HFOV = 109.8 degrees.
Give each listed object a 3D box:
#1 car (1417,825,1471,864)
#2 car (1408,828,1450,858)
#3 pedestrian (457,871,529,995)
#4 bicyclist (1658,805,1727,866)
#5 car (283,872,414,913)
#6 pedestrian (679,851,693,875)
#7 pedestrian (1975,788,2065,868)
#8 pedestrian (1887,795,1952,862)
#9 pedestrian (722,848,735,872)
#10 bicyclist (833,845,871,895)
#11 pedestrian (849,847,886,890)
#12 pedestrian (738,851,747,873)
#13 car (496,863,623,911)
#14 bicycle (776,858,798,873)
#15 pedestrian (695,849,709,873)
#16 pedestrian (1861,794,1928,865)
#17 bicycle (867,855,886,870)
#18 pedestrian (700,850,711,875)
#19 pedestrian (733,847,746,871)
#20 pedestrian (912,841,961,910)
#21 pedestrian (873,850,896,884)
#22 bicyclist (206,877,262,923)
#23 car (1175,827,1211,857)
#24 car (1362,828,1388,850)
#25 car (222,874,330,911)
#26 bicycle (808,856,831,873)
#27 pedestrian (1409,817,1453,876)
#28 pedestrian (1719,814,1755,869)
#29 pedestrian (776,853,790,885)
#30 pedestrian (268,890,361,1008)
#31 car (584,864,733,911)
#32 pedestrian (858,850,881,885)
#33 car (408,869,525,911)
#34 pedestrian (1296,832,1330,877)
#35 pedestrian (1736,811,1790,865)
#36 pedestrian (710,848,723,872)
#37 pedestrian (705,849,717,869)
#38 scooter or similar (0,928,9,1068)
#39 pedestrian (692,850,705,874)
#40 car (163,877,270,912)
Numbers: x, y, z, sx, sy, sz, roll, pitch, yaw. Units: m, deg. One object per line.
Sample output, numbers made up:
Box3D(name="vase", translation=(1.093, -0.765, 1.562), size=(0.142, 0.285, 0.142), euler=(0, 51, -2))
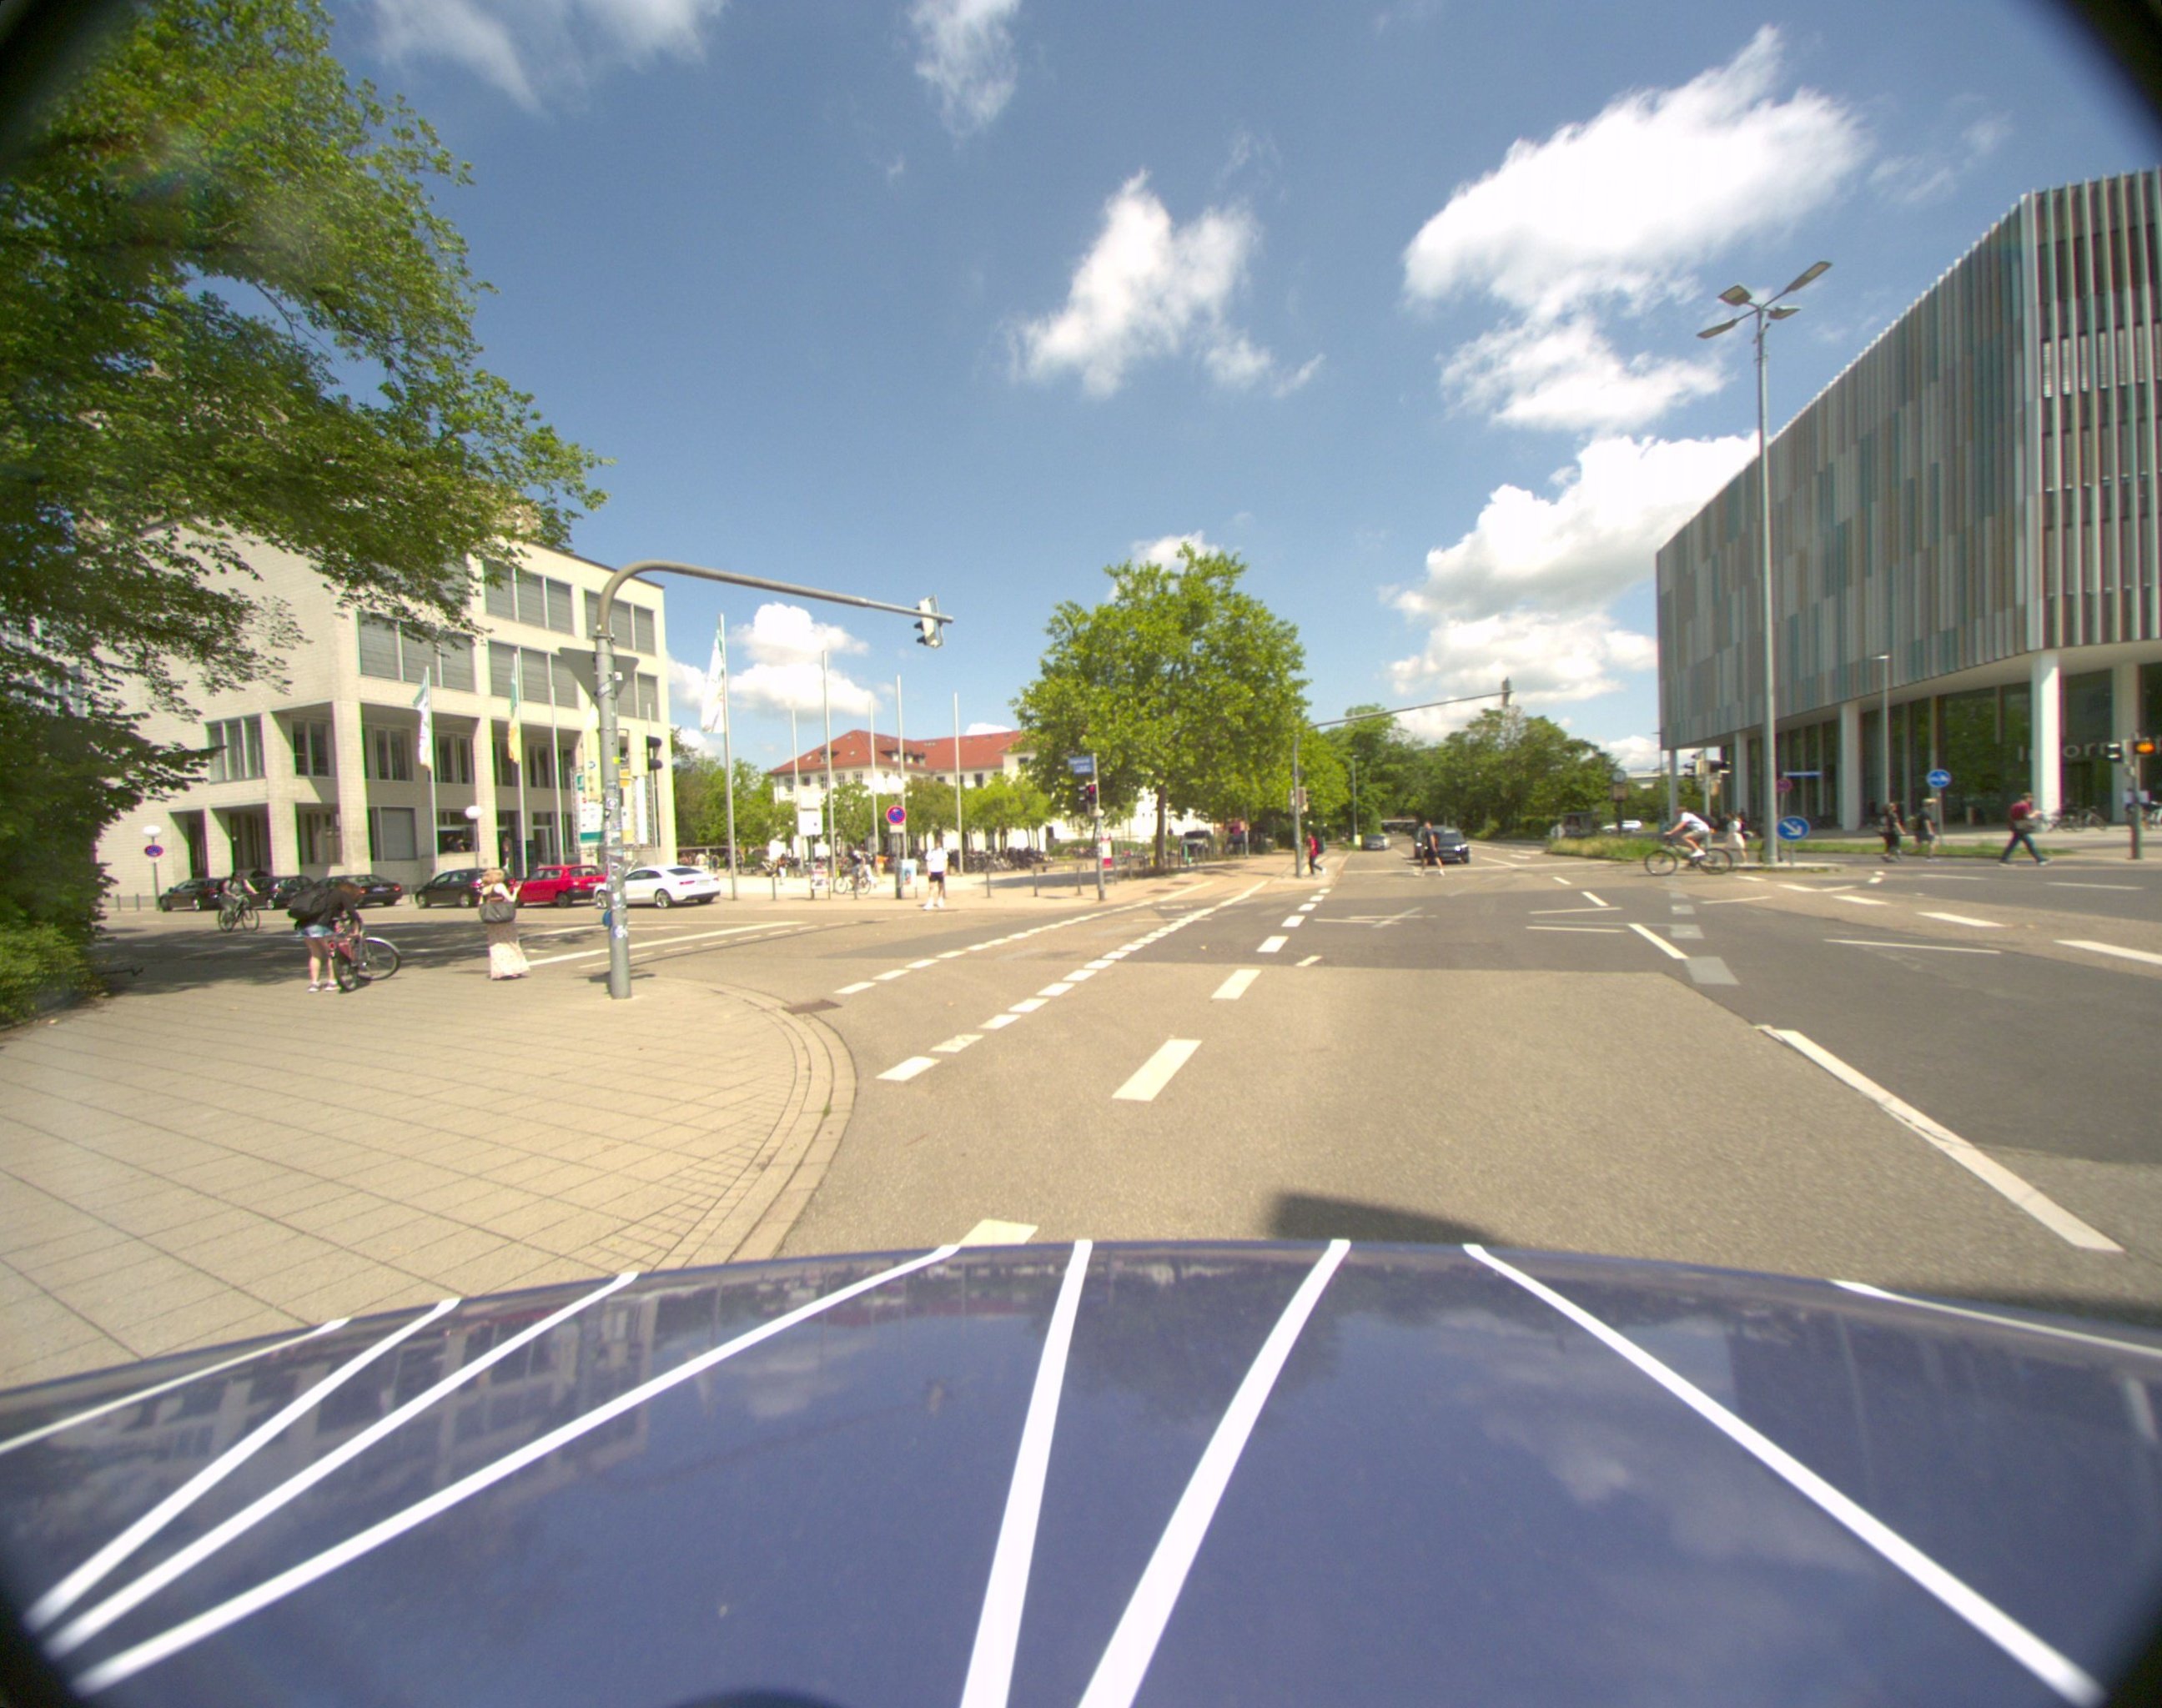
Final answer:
Box3D(name="car", translation=(16.122, -0.449, 33.935), size=(1.843, 1.593, 4.005), euler=(-2, 1, 21))
Box3D(name="car", translation=(18.964, -0.630, 41.555), size=(1.843, 1.528, 4.005), euler=(-2, 1, 21))
Box3D(name="pedestrian", translation=(-8.188, 1.073, 10.610), size=(0.646, 1.617, 0.634), euler=(-4, 2, -31))
Box3D(name="bicyclist", translation=(15.112, -0.449, 18.800), size=(1.074, 1.436, 0.973), euler=(-2, 2, 22))
Box3D(name="car", translation=(-30.332, 1.586, 31.474), size=(4.392, 1.432, 2.004), euler=(-2, 2, 18))
Box3D(name="pedestrian", translation=(-31.839, 0.688, 61.194), size=(0.675, 1.892, 0.801), euler=(-3, 2, -11))
Box3D(name="pedestrian", translation=(23.618, -0.644, 19.147), size=(1.106, 1.915, 0.973), euler=(-2, 2, 25))
Box3D(name="pedestrian", translation=(24.693, -0.741, 22.386), size=(0.877, 1.915, 0.973), euler=(-2, 2, 15))
Box3D(name="pedestrian", translation=(-28.720, 0.469, 61.914), size=(0.675, 1.892, 0.801), euler=(-3, 2, -11))
Box3D(name="bicyclist", translation=(-8.805, 0.612, 29.222), size=(1.085, 1.843, 0.685), euler=(-2, 2, 25))
Box3D(name="pedestrian", translation=(-9.515, 0.647, 33.938), size=(1.319, 1.838, 0.701), euler=(-3, 1, 21))
Box3D(name="pedestrian", translation=(-24.111, 0.553, 54.098), size=(0.473, 1.527, 0.561), euler=(-4, 2, -29))
Box3D(name="car", translation=(-18.963, 1.206, 27.653), size=(3.809, 1.548, 1.775), euler=(-2, 2, 18))
Box3D(name="bicycle", translation=(-19.563, 0.761, 50.553), size=(1.369, 0.946, 0.352), euler=(-2, 1, 12))
Box3D(name="pedestrian", translation=(-30.584, 0.554, 61.313), size=(0.675, 1.892, 0.801), euler=(-3, 2, -11))
Box3D(name="pedestrian", translation=(23.032, -0.680, 21.540), size=(0.877, 1.915, 0.972), euler=(-2, 2, 12))
Box3D(name="bicycle", translation=(-13.756, 0.570, 51.110), size=(1.368, 0.946, 0.353), euler=(-2, 2, 27))
Box3D(name="pedestrian", translation=(-26.101, 0.592, 52.793), size=(0.473, 1.704, 0.382), euler=(-3, 2, -10))
Box3D(name="pedestrian", translation=(-28.301, 0.409, 62.928), size=(0.675, 1.892, 0.801), euler=(-3, 2, -11))
Box3D(name="pedestrian", translation=(-4.013, 0.580, 21.205), size=(0.877, 1.862, 0.973), euler=(-2, 2, 19))
Box3D(name="pedestrian", translation=(-9.655, 0.622, 37.257), size=(0.686, 1.613, 0.833), euler=(-5, 3, -43))
Box3D(name="bicyclist", translation=(-23.553, 1.278, 21.135), size=(0.833, 1.219, 0.619), euler=(-2, 1, 7))
Box3D(name="car", translation=(8.161, -0.892, 55.033), size=(1.996, 2.043, 4.233), euler=(-2, 1, 15))
Box3D(name="car", translation=(24.796, -1.277, 64.188), size=(1.909, 1.772, 4.005), euler=(-2, 1, 20))
Box3D(name="car", translation=(-35.352, 1.704, 33.389), size=(3.709, 1.422, 1.803), euler=(-2, 2, 18))
Box3D(name="bicycle", translation=(-16.757, 0.659, 48.672), size=(1.369, 1.068, 0.352), euler=(-2, 1, 12))
Box3D(name="pedestrian", translation=(11.676, -0.249, 25.352), size=(1.029, 1.915, 0.974), euler=(-1, 2, 45))
Box3D(name="pedestrian", translation=(18.232, -0.354, 21.127), size=(0.590, 1.495, 0.416), euler=(-3, 2, 5))
Box3D(name="pedestrian", translation=(-15.154, 0.763, 38.640), size=(0.539, 1.581, 0.435), euler=(-3, 2, -30))
Box3D(name="pedestrian", translation=(-9.947, 1.197, 9.891), size=(0.657, 1.409, 0.786), euler=(-1, 0, -31))
Box3D(name="car", translation=(-14.285, 1.129, 25.706), size=(4.433, 1.389, 1.836), euler=(-2, 1, 19))
Box3D(name="pedestrian", translation=(-10.198, 0.651, 36.646), size=(0.686, 1.613, 0.833), euler=(-4, 3, -40))
Box3D(name="car", translation=(-23.870, 1.382, 29.525), size=(3.921, 1.439, 1.744), euler=(-2, 2, 21))
Box3D(name="pedestrian", translation=(8.539, 0.022, 27.973), size=(1.061, 1.588, 0.973), euler=(-2, 2, 21))
Box3D(name="pedestrian", translation=(21.174, -0.498, 23.612), size=(0.877, 1.619, 0.973), euler=(-2, 2, 16))
Box3D(name="pedestrian", translation=(-29.629, 0.515, 61.756), size=(0.675, 1.892, 0.801), euler=(-3, 2, -11))
Box3D(name="pedestrian", translation=(-35.156, 0.444, 72.211), size=(0.675, 1.892, 0.801), euler=(-3, 2, -11))
Box3D(name="scooter or similar", translation=(-9.427, 1.267, 6.113), size=(0.438, 1.227, 1.227), euler=(-1, 1, -30))
Box3D(name="pedestrian", translation=(-30.926, 0.639, 61.462), size=(0.675, 1.892, 0.801), euler=(-3, 2, -11))
Box3D(name="car", translation=(-39.447, 1.829, 34.680), size=(4.138, 1.388, 1.693), euler=(-2, 2, 18))
